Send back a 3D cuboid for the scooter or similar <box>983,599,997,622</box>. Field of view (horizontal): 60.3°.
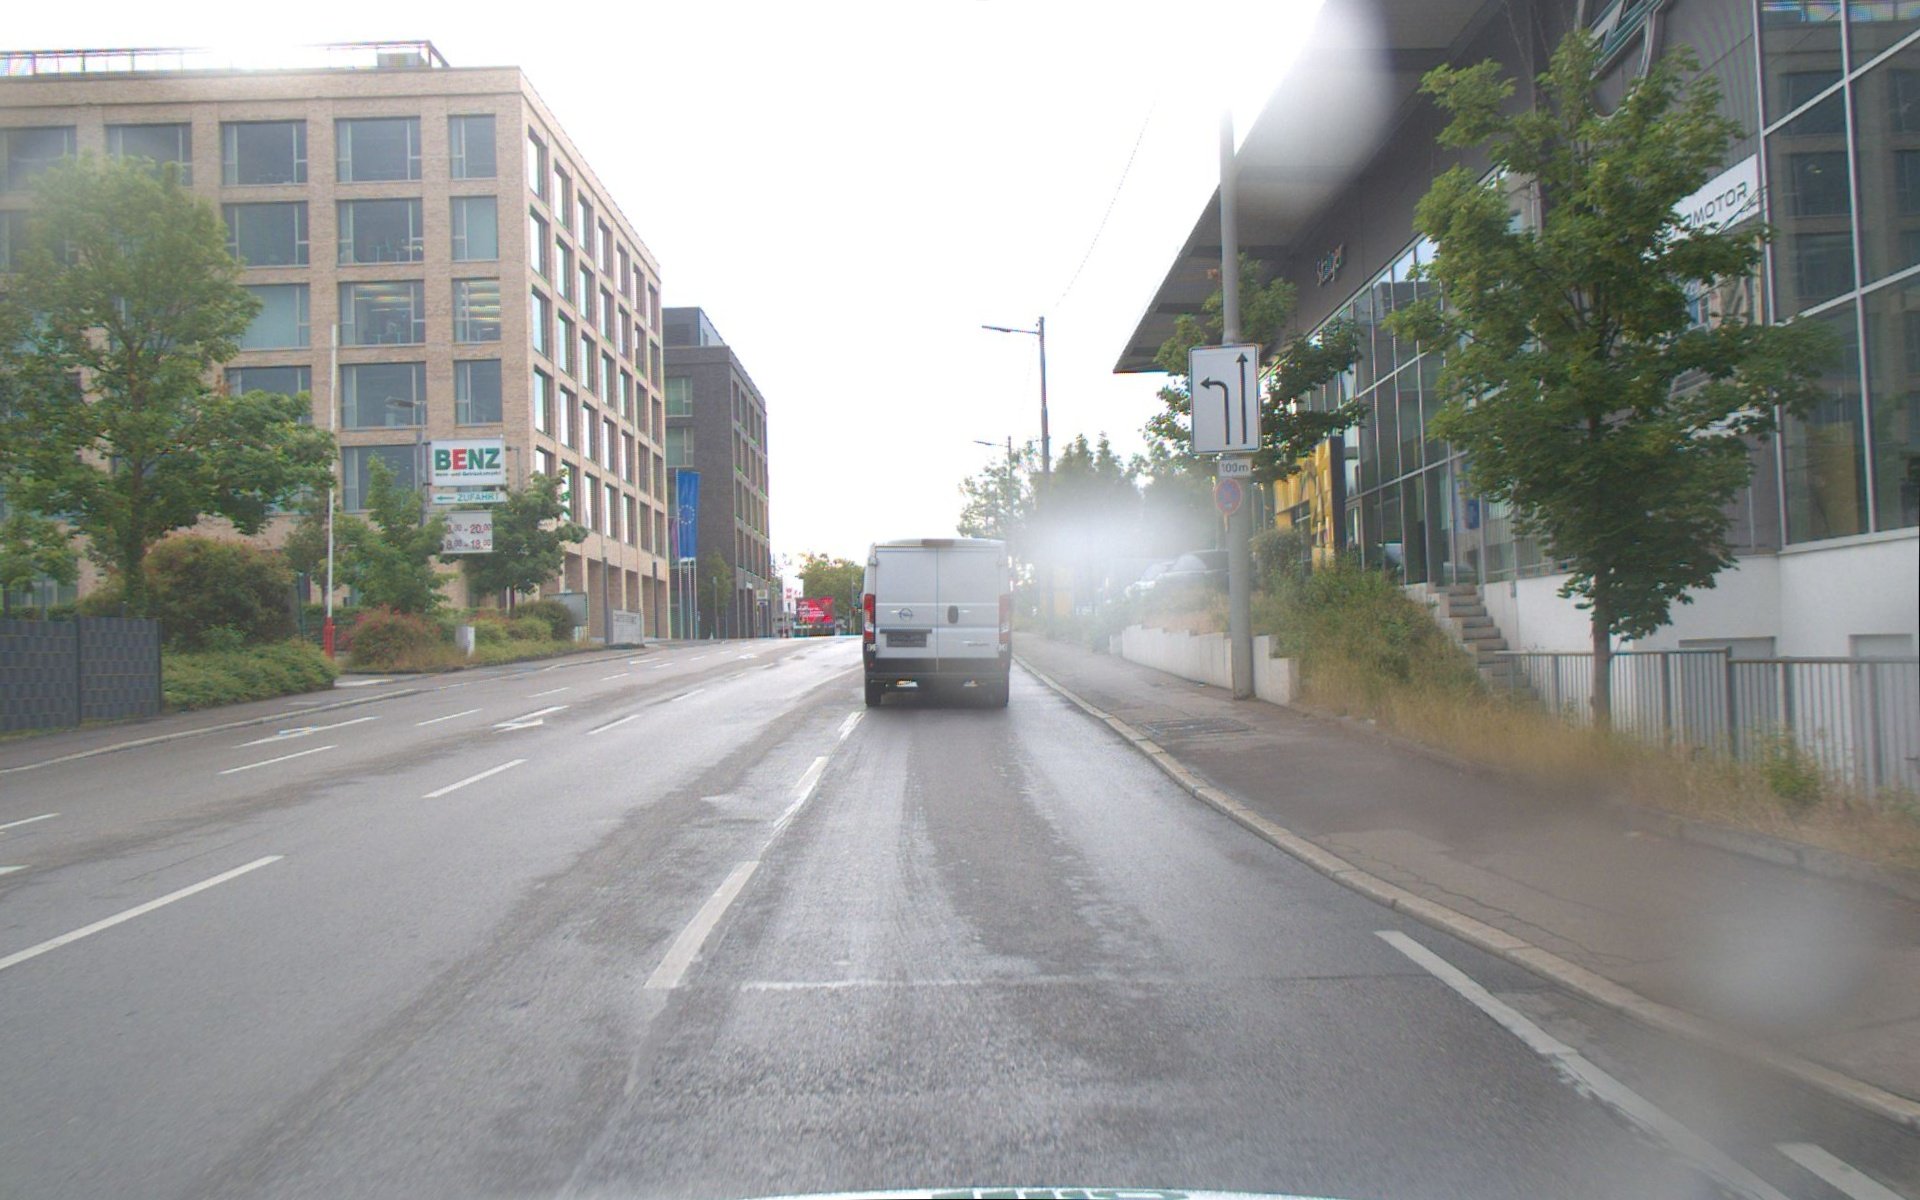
[{"bbox_3d":[2.097,0.752,115.754,0.428,1.615,1.264,-1,0,-23],"label":"scooter or similar"}]

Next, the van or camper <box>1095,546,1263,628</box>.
[{"bbox_3d":[7.710,-0.444,58.638,5.620,2.771,2.351,-1,0,-1],"label":"van or camper"}]

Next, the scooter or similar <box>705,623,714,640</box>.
[{"bbox_3d":[-16.304,2.076,107.602,0.343,1.090,1.428,-1,-2,0],"label":"scooter or similar"}]

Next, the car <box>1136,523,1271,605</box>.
[{"bbox_3d":[5.926,-0.835,39.807,1.954,1.740,4.425,-4,-1,25],"label":"car"}]

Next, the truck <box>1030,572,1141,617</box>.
[{"bbox_3d":[5.999,-0.274,79.476,5.045,2.049,2.344,-1,0,-3],"label":"truck"}]

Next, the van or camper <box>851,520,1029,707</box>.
[{"bbox_3d":[-0.253,0.165,24.125,2.292,2.398,5.199,-1,0,0],"label":"van or camper"}]

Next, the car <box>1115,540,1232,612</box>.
[{"bbox_3d":[5.809,-0.633,44.596,1.953,1.740,4.577,-4,-1,22],"label":"car"}]
